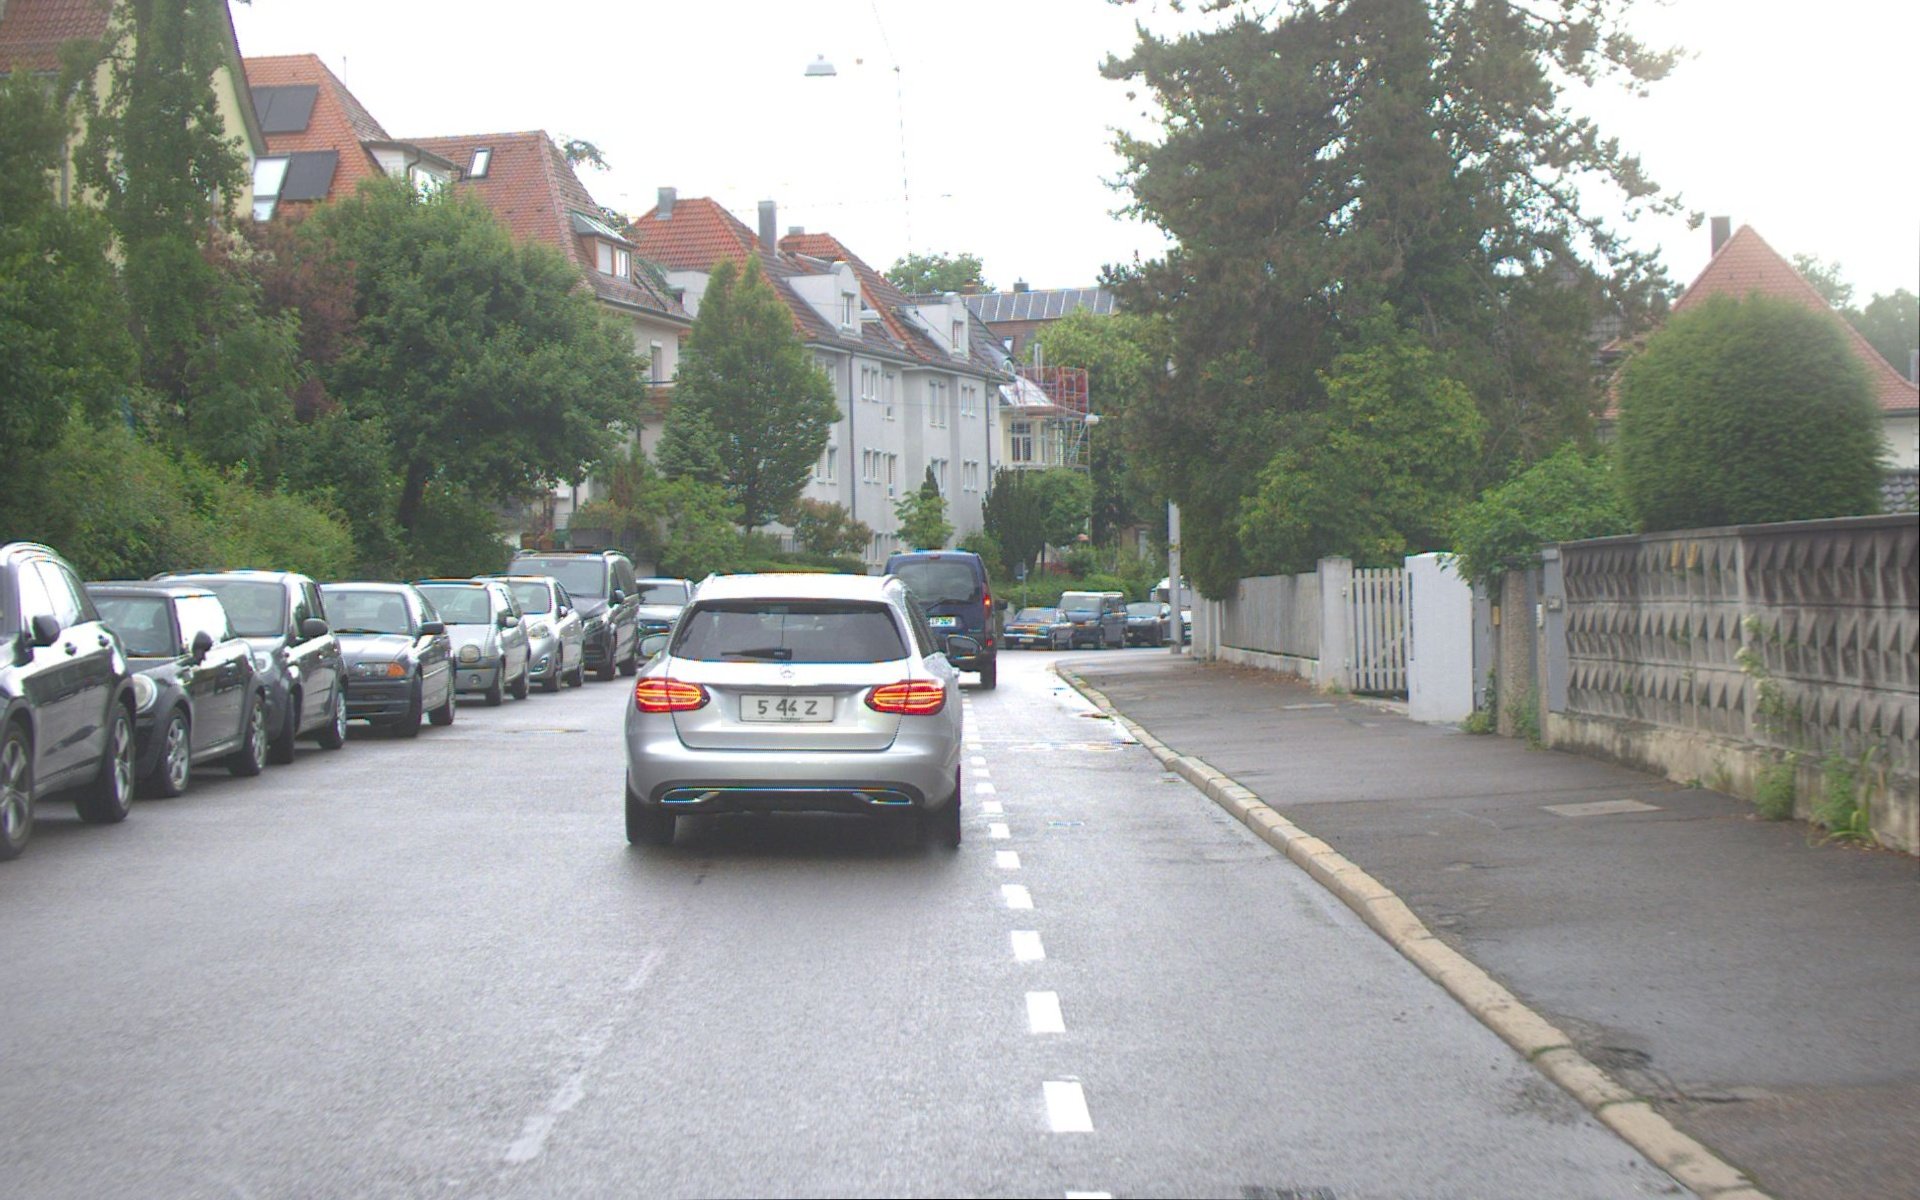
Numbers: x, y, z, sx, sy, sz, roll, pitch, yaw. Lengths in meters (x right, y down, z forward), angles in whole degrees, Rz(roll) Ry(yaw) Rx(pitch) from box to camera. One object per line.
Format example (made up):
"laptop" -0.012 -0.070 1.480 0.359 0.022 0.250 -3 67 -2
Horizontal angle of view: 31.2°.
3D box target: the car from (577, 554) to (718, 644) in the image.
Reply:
"car" -5.855 -0.035 64.908 1.994 1.575 4.761 2 1 2

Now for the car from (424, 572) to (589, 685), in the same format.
"car" -6.050 0.360 46.224 1.694 1.442 3.814 0 0 0

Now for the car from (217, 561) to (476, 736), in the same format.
"car" -5.798 0.406 32.959 1.756 1.442 4.417 0 2 -1

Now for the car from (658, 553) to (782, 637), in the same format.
"car" -5.197 -0.128 75.089 1.994 1.696 4.738 2 0 4

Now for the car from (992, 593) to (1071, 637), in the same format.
"car" 2.426 0.497 115.570 1.644 1.412 4.609 0 0 14

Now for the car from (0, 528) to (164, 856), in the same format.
"car" -5.717 0.434 18.571 1.893 1.617 4.379 0 1 -1

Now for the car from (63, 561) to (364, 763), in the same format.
"car" -6.030 0.451 28.148 1.696 1.536 3.814 0 1 -1

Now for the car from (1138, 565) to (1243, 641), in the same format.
"car" 9.043 0.083 134.448 2.393 2.762 6.525 1 2 20

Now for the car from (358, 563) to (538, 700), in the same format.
"car" -6.027 0.338 40.784 1.646 1.442 3.628 0 2 -1

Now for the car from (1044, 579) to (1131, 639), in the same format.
"car" 4.515 0.314 121.086 1.831 2.049 5.005 1 0 17

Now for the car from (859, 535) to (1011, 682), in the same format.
"car" -0.302 0.119 46.916 1.843 1.897 3.999 0 0 3

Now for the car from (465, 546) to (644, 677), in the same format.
"car" -6.100 0.143 52.289 1.993 1.872 5.356 1 1 1

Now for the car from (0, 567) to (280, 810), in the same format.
"car" -6.012 0.545 23.816 1.893 1.442 3.814 0 2 -1

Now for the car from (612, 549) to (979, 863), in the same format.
"car" -0.920 0.508 19.125 1.816 1.551 4.001 1 1 -3

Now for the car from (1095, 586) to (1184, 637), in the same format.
"car" 6.666 0.393 127.097 1.995 1.682 4.672 1 2 20
